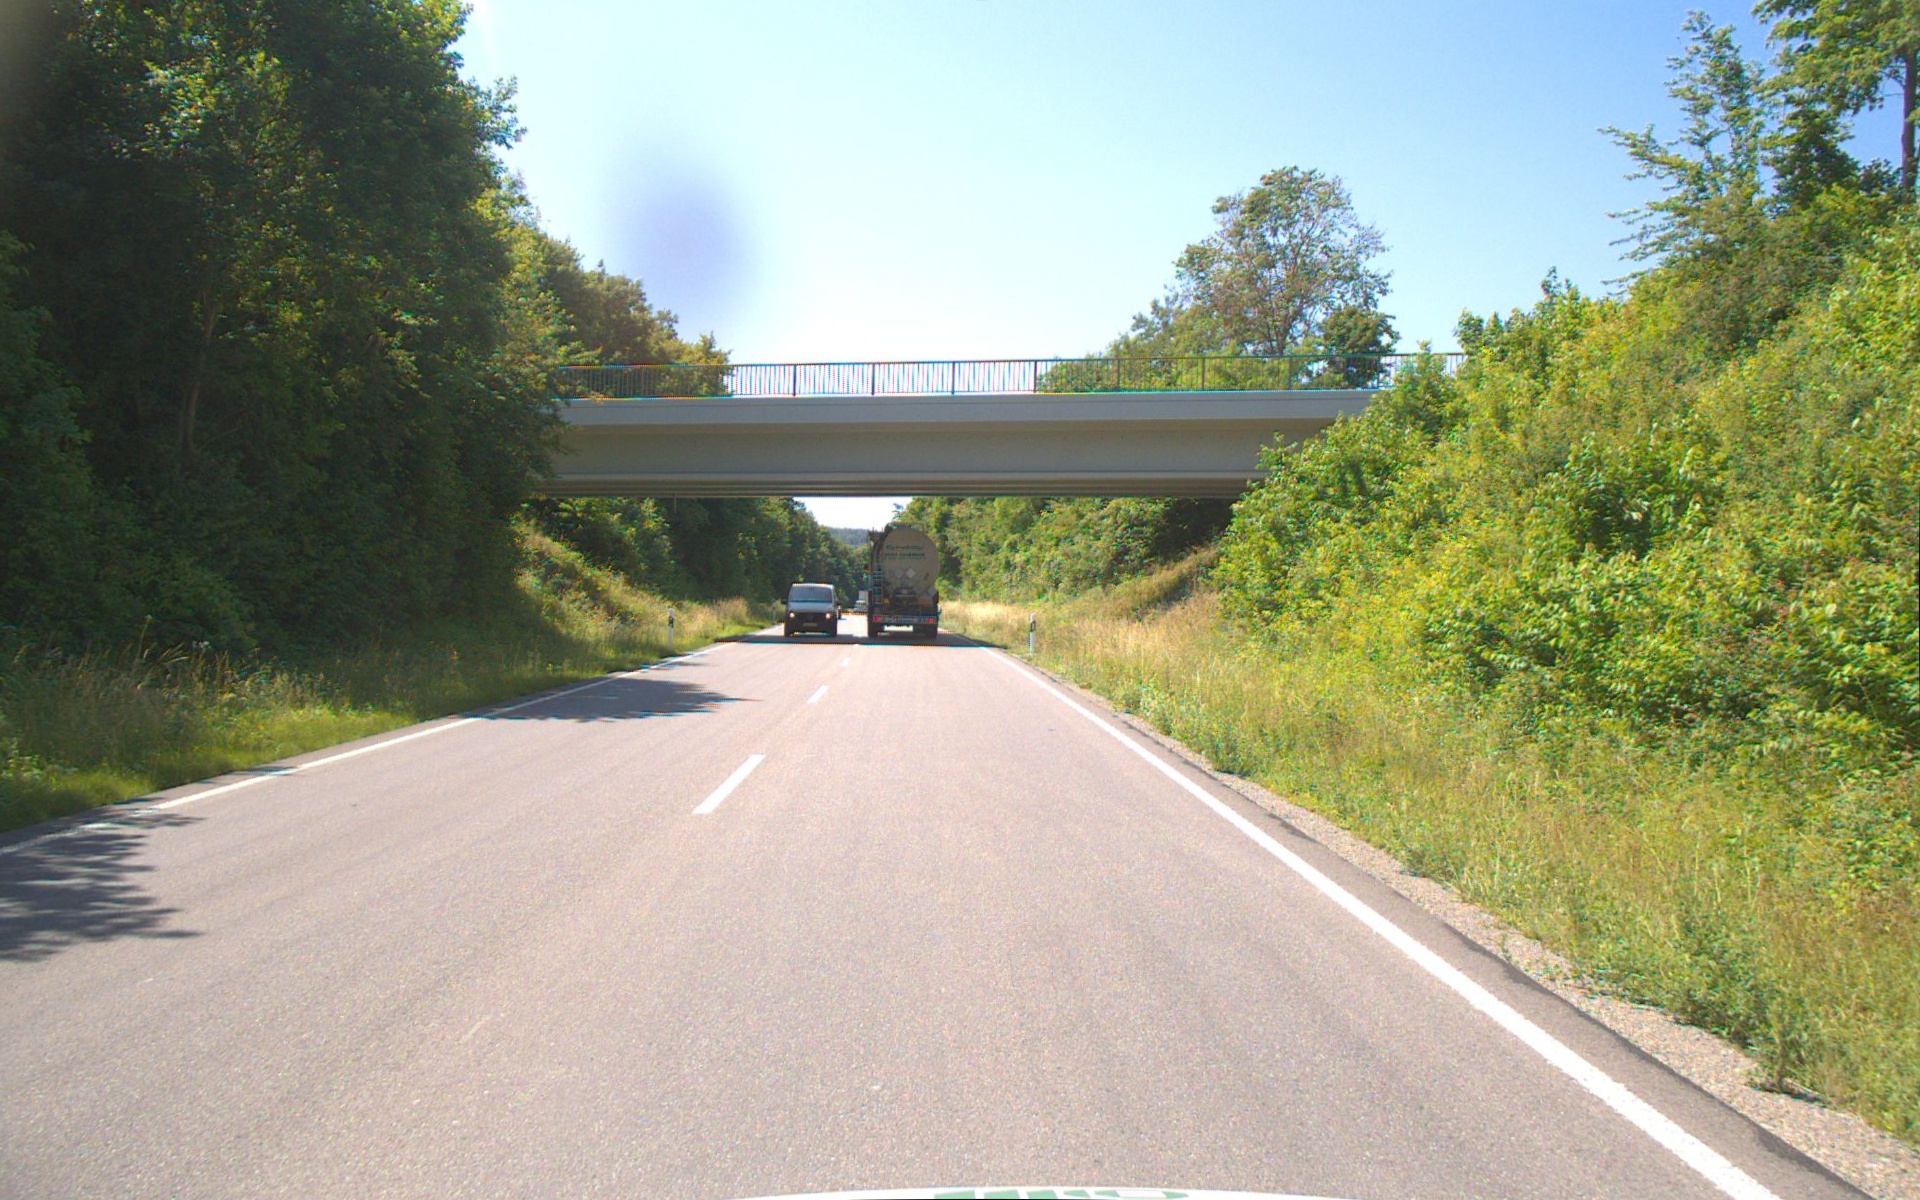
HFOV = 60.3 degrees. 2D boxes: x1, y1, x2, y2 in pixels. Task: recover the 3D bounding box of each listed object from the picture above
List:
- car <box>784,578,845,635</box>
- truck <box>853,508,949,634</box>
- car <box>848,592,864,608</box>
[{"bbox_3d":[-5.258,0.217,60.249,1.893,1.939,5.325,1,0,-2],"label":"car"},{"bbox_3d":[-2.157,-0.853,63.326,2.988,4.068,15.630,3,-1,-1],"label":"truck"},{"bbox_3d":[-13.279,0.013,210.126,1.954,2.049,3.996,1,0,-4],"label":"car"}]
